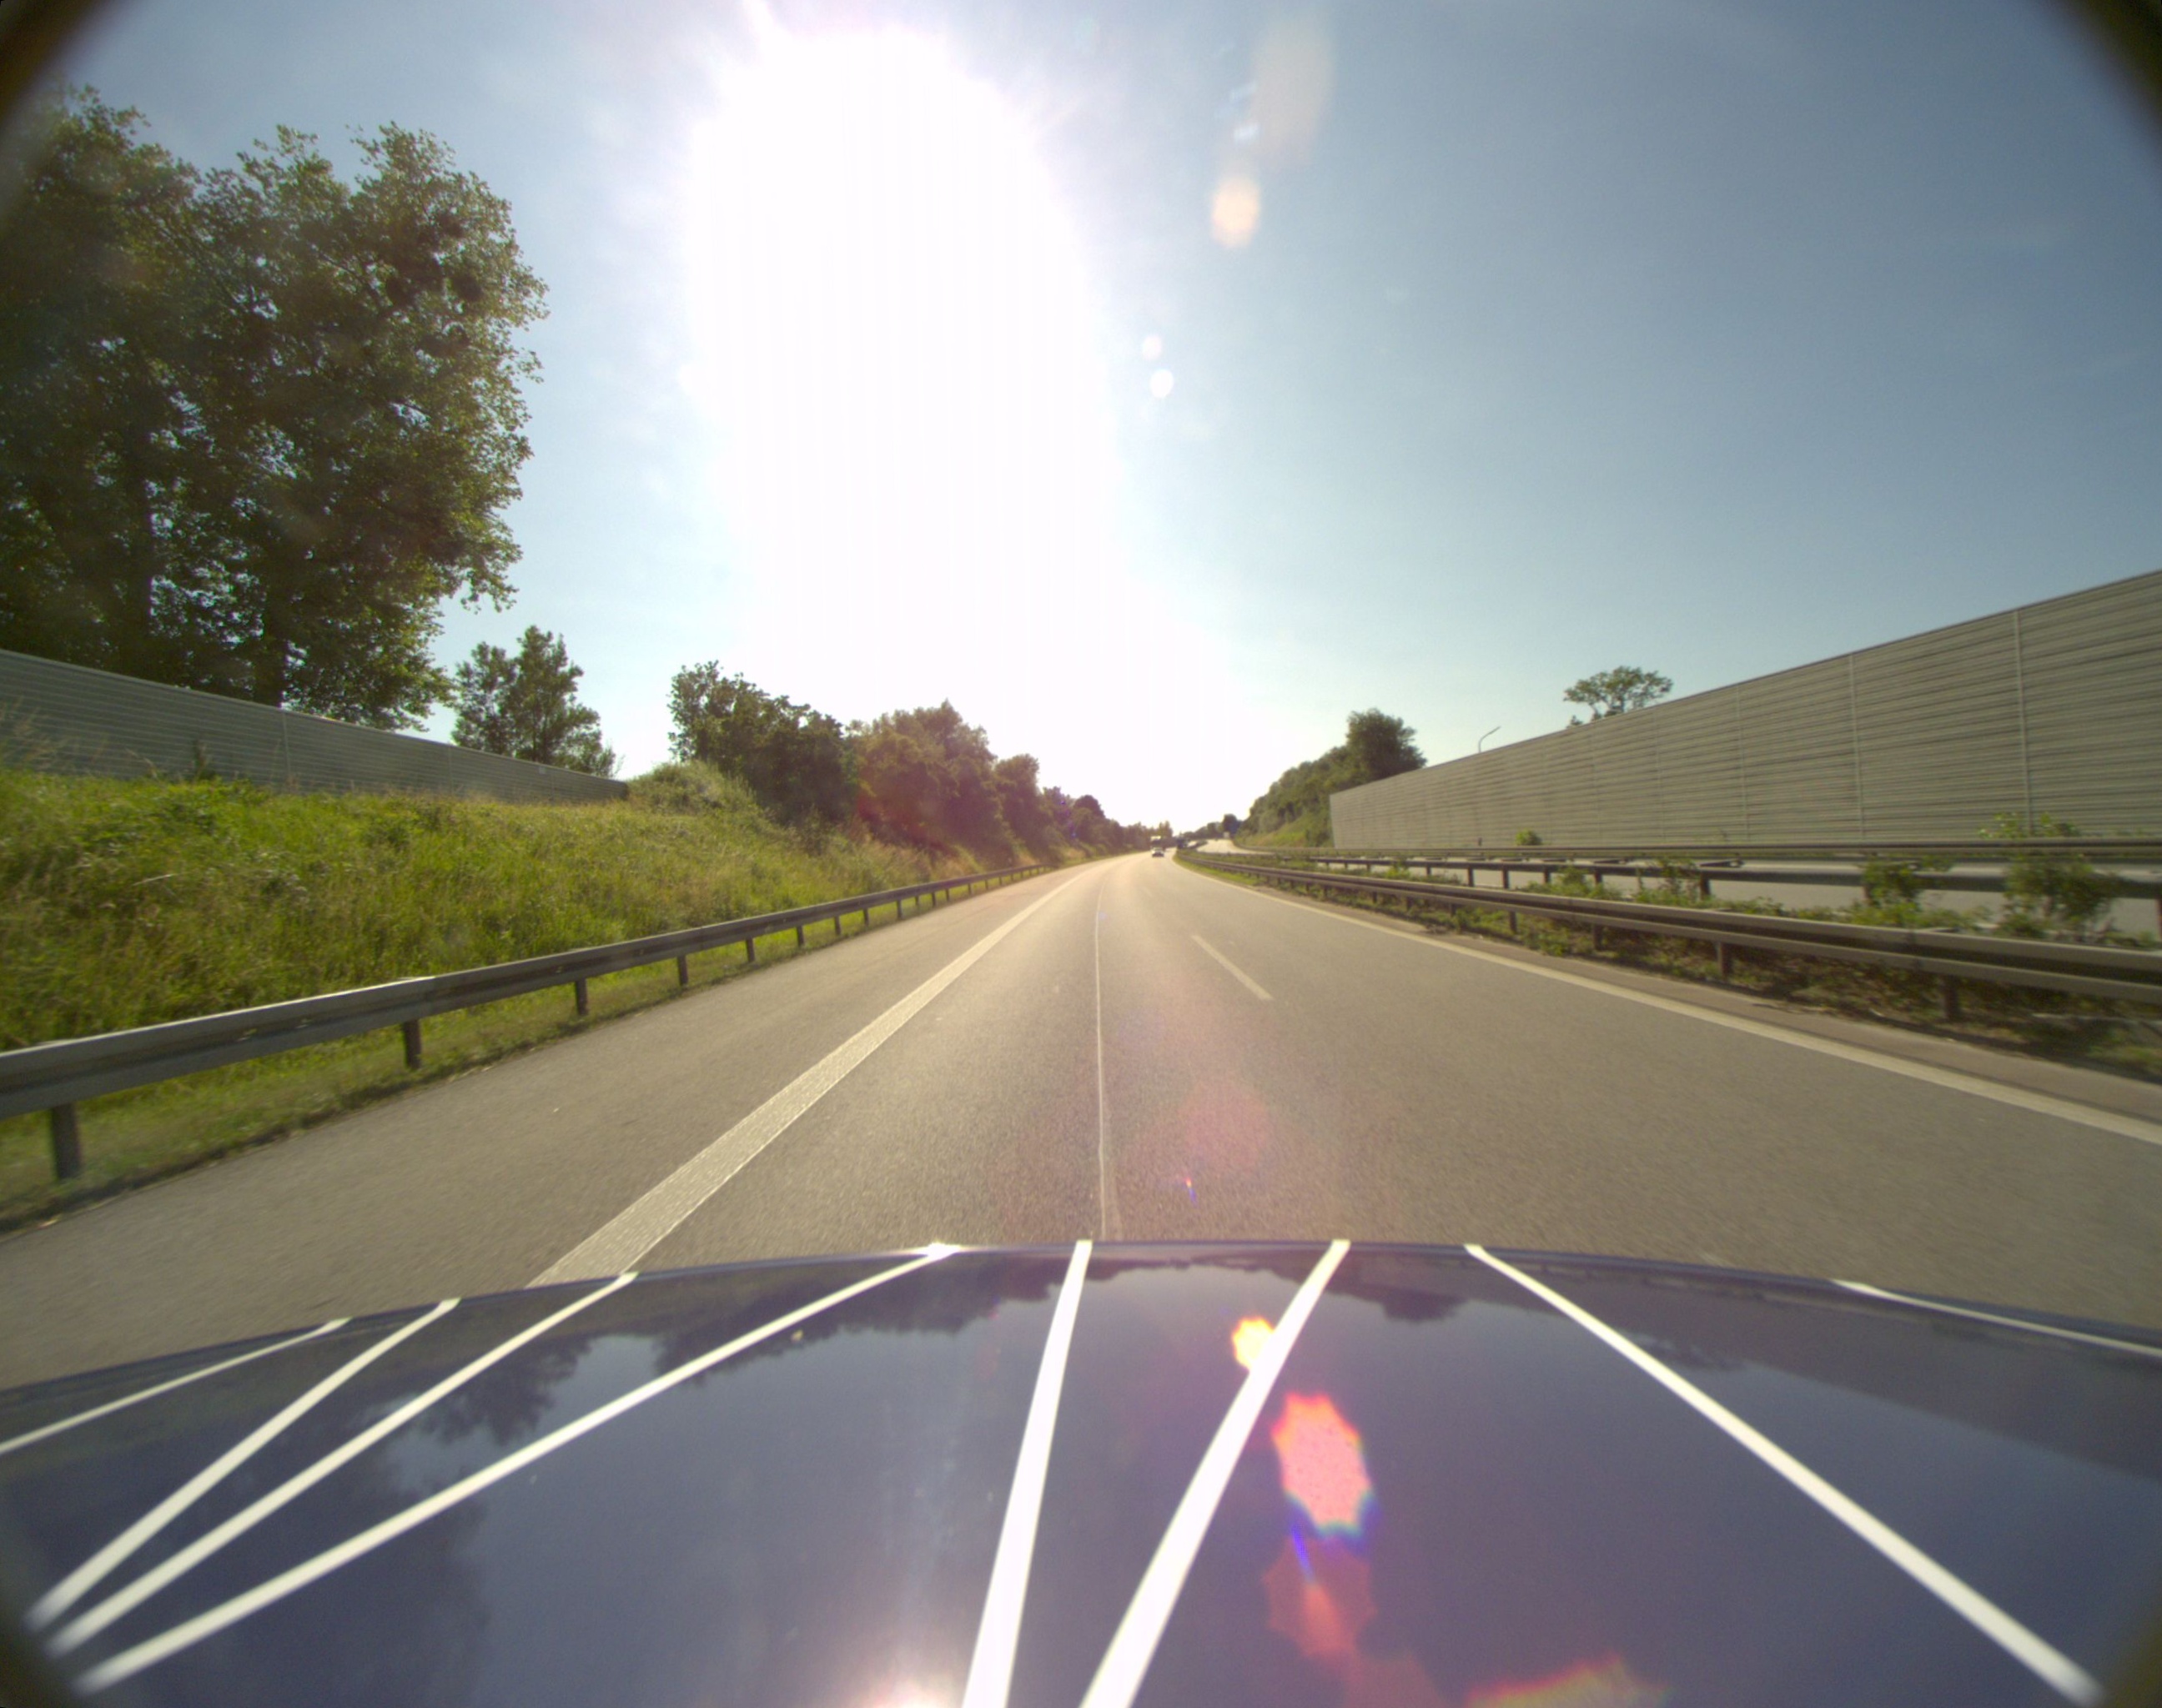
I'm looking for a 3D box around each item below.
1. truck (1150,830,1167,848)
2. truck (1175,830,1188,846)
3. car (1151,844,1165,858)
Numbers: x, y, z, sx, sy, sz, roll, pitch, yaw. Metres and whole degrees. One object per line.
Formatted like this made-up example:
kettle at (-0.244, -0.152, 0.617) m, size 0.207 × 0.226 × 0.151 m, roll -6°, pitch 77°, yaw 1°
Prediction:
truck at (18.906, -3.694, 185.708) m, size 3.432 × 4.187 × 12.091 m, roll -3°, pitch 1°, yaw 8°
truck at (29.634, -4.724, 224.384) m, size 3.432 × 4.187 × 12.089 m, roll -3°, pitch 1°, yaw 7°
car at (11.711, -0.439, 115.574) m, size 1.998 × 2.001 × 4.601 m, roll -3°, pitch -1°, yaw 5°
